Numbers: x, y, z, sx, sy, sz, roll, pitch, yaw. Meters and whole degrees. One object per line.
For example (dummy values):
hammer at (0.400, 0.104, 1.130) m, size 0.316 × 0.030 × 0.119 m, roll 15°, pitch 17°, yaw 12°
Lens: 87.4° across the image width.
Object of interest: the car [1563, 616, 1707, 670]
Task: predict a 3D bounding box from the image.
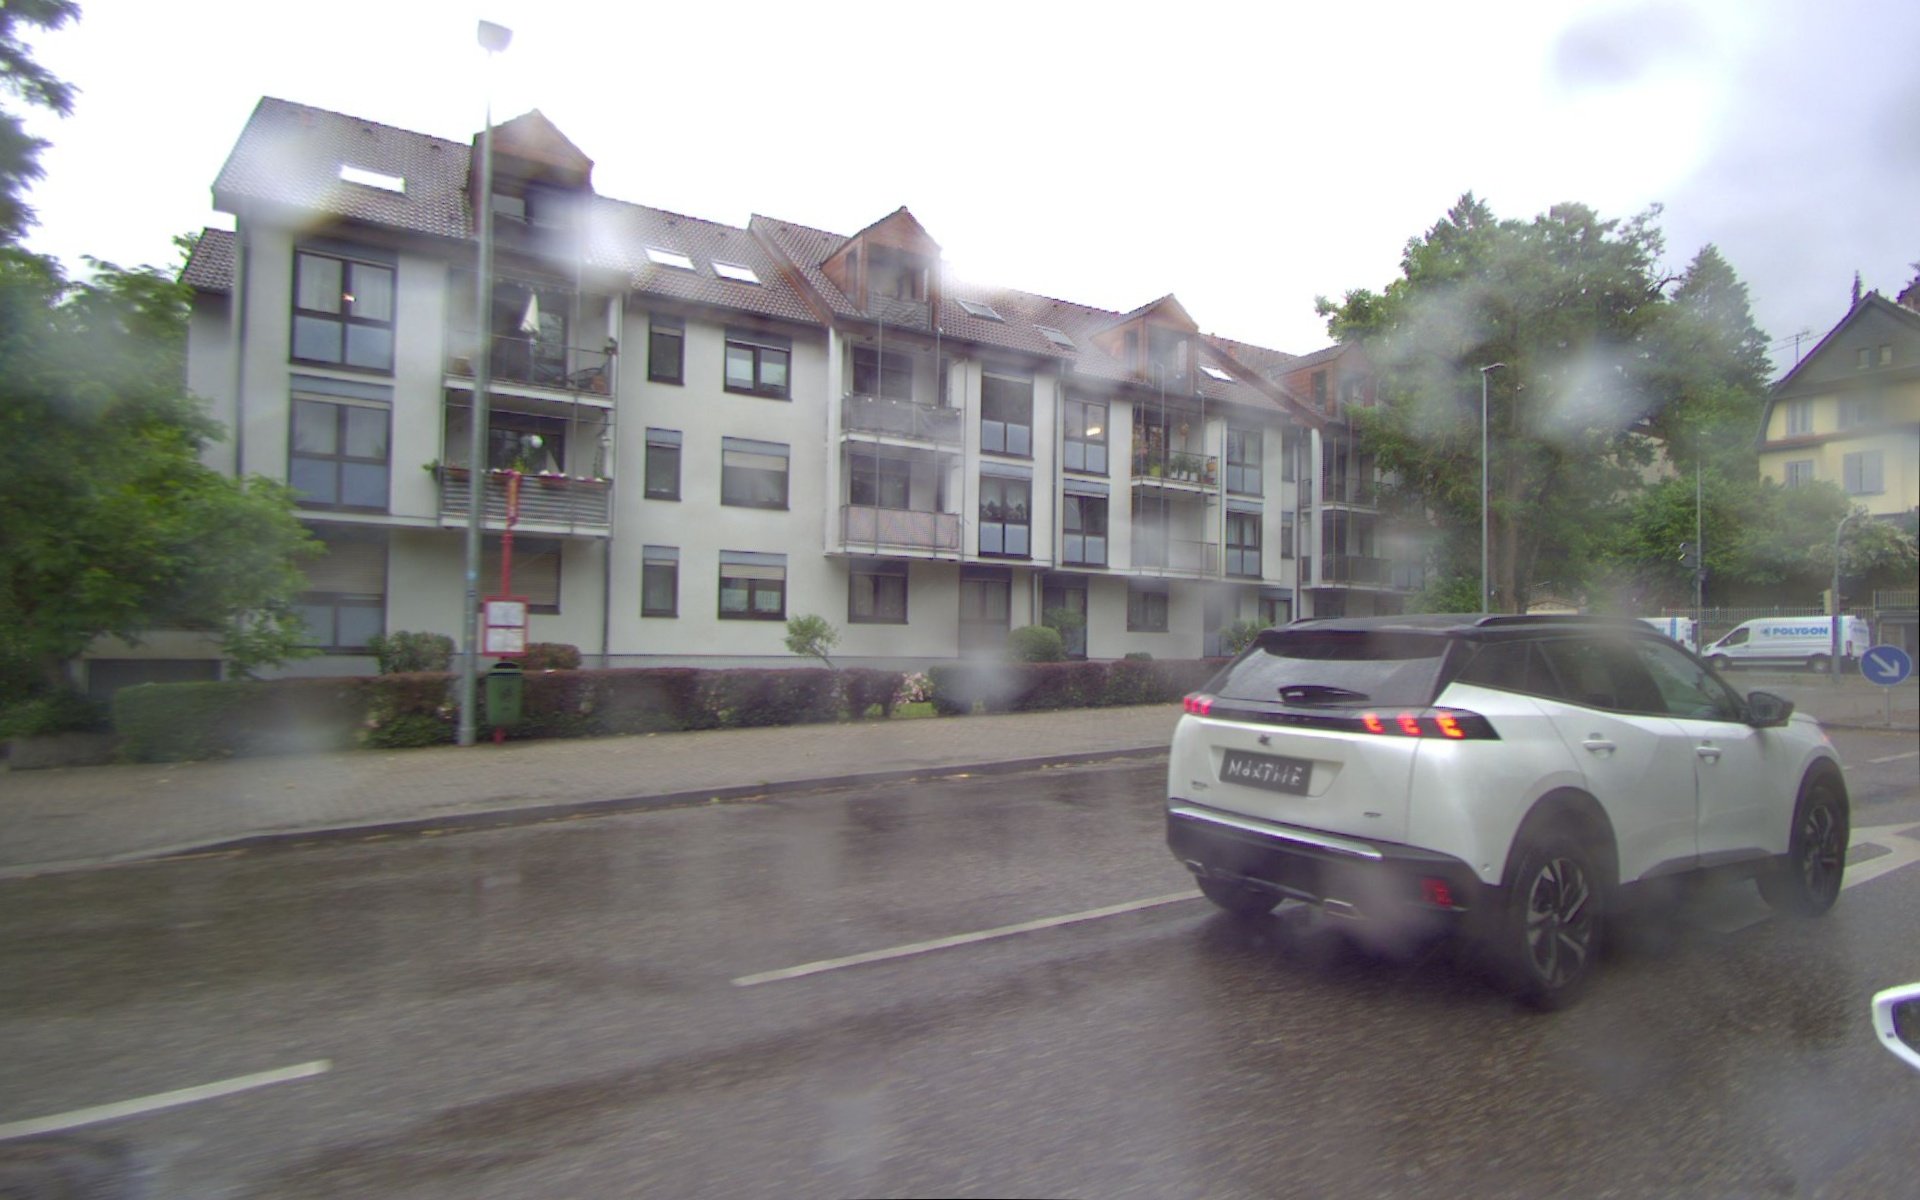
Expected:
car at (33.436, 2.080, 49.937) m, size 2.288 × 2.527 × 5.537 m, roll 2°, pitch -2°, yaw -30°

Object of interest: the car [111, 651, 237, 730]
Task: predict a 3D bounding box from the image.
car at (-16.442, 1.961, 21.181) m, size 1.707 × 1.504 × 3.532 m, roll 3°, pitch -8°, yaw -33°

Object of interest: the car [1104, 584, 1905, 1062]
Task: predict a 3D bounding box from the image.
car at (2.970, 0.804, 5.201) m, size 4.319 × 1.556 × 1.743 m, roll 1°, pitch -3°, yaw -32°

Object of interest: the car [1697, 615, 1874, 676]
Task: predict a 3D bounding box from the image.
car at (36.383, 1.960, 44.482) m, size 2.288 × 2.527 × 5.635 m, roll 2°, pitch -2°, yaw -30°
